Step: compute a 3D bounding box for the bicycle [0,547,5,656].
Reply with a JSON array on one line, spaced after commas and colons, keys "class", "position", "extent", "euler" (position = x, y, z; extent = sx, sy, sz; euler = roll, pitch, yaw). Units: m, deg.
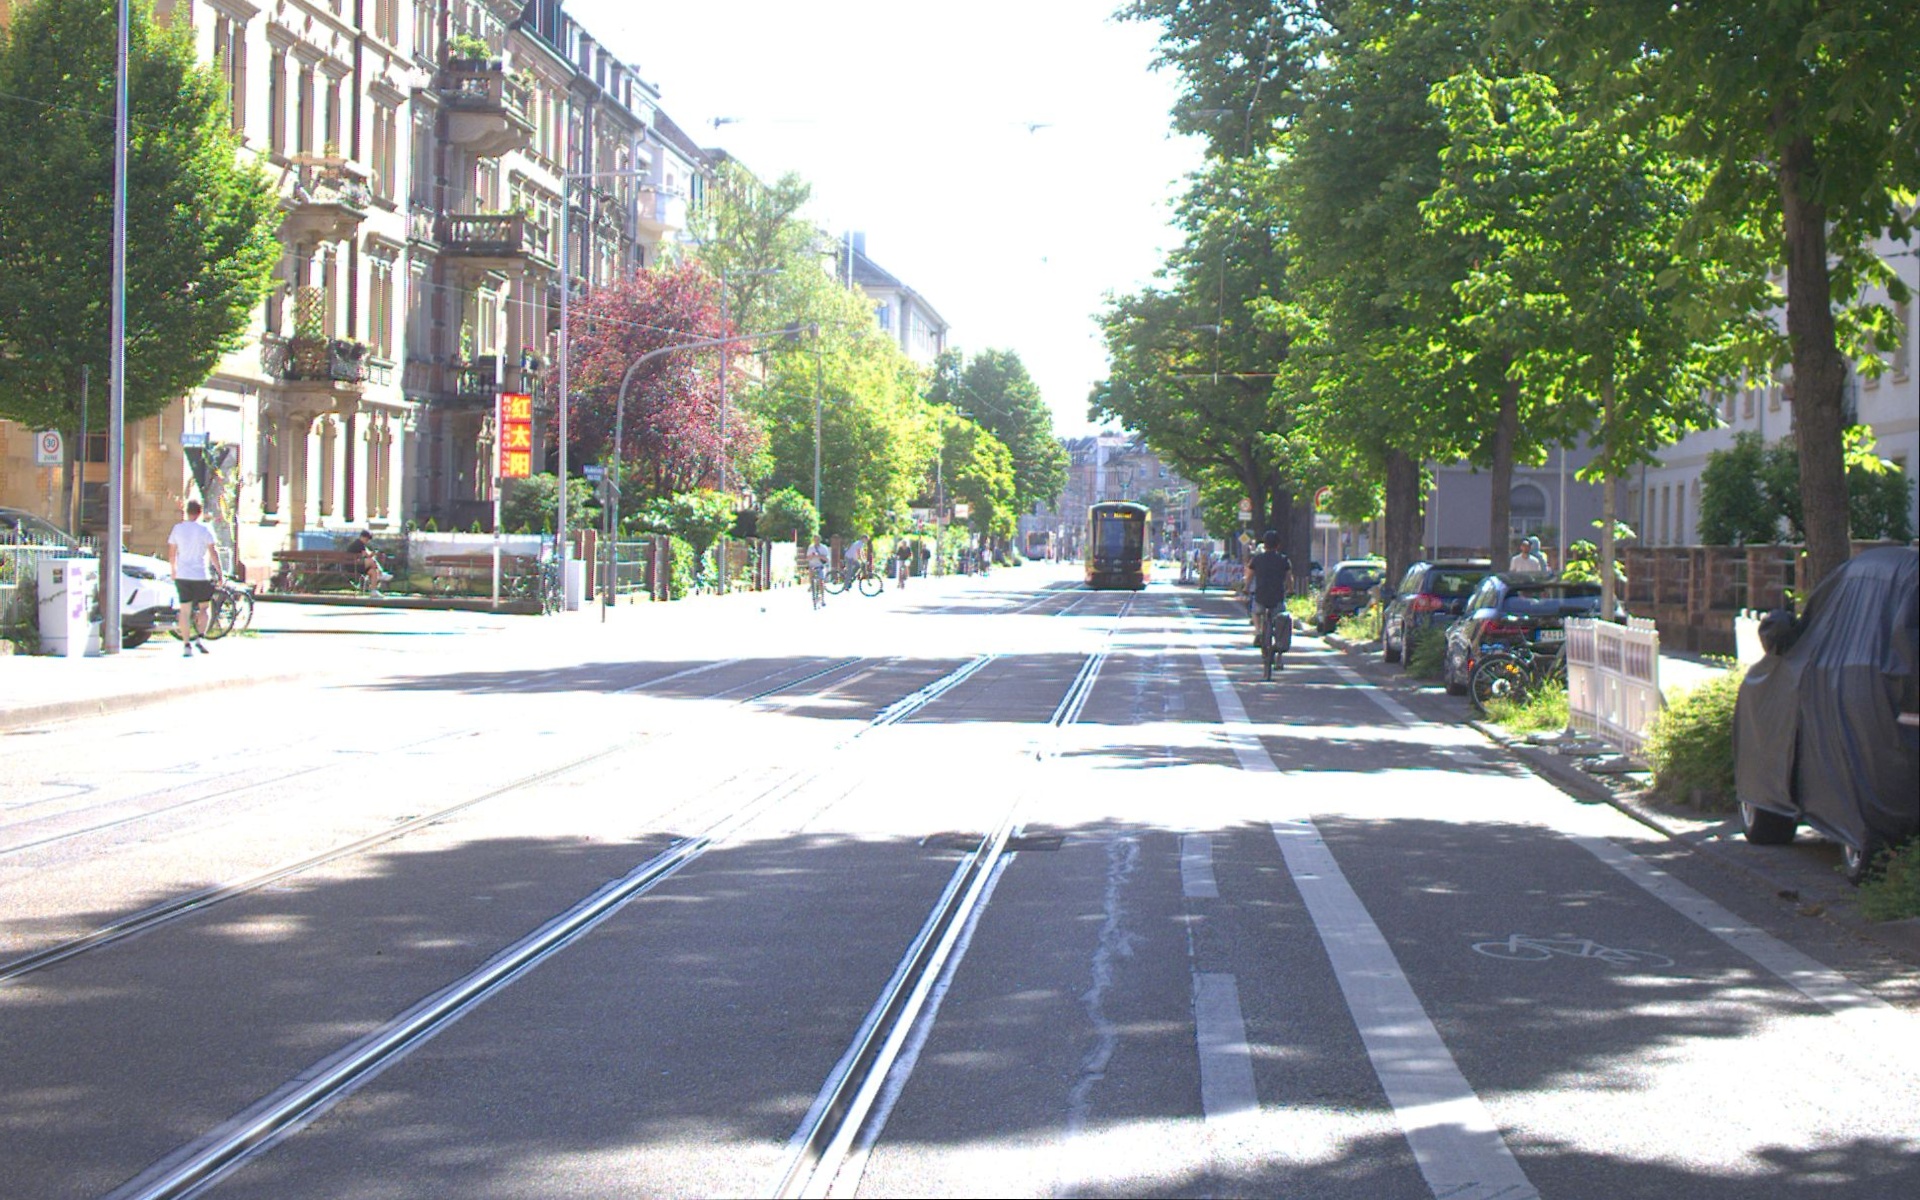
[{"class": "bicycle", "position": [-9.522, -0.028, 32.199], "extent": [0.563, 1.030, 1.768], "euler": [2, 3, -33]}]

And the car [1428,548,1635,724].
[{"class": "car", "position": [6.202, 0.338, 37.684], "extent": [1.665, 1.755, 4.231], "euler": [2, 1, 2]}]

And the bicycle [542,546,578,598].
[{"class": "bicycle", "position": [-7.864, -0.559, 67.712], "extent": [0.335, 0.997, 1.869], "euler": [3, 1, 3]}]

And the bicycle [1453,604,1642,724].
[{"class": "bicycle", "position": [5.827, 0.630, 34.136], "extent": [1.762, 1.074, 0.433], "euler": [3, 1, 5]}]

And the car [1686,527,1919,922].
[{"class": "car", "position": [5.023, 0.551, 17.630], "extent": [1.744, 1.760, 4.478], "euler": [3, 1, 2]}]

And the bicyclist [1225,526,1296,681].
[{"class": "bicyclist", "position": [3.679, 0.038, 42.136], "extent": [0.727, 1.842, 0.836], "euler": [3, 1, 3]}]

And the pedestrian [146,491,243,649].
[{"class": "pedestrian", "position": [-8.634, -0.336, 38.816], "extent": [0.829, 1.718, 1.082], "euler": [3, 0, -4]}]

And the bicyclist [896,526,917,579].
[{"class": "bicyclist", "position": [-1.814, -1.631, 117.255], "extent": [0.660, 1.795, 0.616], "euler": [0, 0, 4]}]

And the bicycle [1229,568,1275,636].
[{"class": "bicycle", "position": [5.053, 0.024, 59.517], "extent": [0.692, 1.108, 1.917], "euler": [3, 1, 3]}]

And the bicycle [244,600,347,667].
[{"class": "bicycle", "position": [-9.589, 0.487, 49.590], "extent": [1.290, 0.911, 0.621], "euler": [2, -1, -32]}]

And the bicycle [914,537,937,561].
[{"class": "bicycle", "position": [-1.589, -2.362, 159.785], "extent": [0.632, 1.065, 1.832], "euler": [3, 1, -13]}]

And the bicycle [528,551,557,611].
[{"class": "bicycle", "position": [-8.032, -0.372, 66.149], "extent": [0.371, 1.122, 0.809], "euler": [3, 1, 3]}]

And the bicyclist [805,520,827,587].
[{"class": "bicyclist", "position": [-3.495, -1.134, 83.514], "extent": [0.464, 1.613, 0.744], "euler": [0, 1, 3]}]

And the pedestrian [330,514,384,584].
[{"class": "pedestrian", "position": [-11.770, -0.991, 67.117], "extent": [0.901, 1.348, 0.577], "euler": [0, 1, 5]}]

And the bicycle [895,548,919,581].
[{"class": "bicycle", "position": [-1.801, -1.230, 117.335], "extent": [0.692, 1.108, 1.718], "euler": [0, 1, 3]}]

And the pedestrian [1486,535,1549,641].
[{"class": "pedestrian", "position": [9.384, -0.210, 57.863], "extent": [0.599, 1.765, 0.913], "euler": [-2, 1, -27]}]

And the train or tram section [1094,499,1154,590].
[{"class": "train or tram section", "position": [6.547, -2.231, 137.075], "extent": [2.154, 3.420, 6.611], "euler": [3, 1, 3]}]

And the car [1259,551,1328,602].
[{"class": "car", "position": [10.029, -0.727, 103.666], "extent": [1.628, 1.431, 4.665], "euler": [1, 1, 0]}]

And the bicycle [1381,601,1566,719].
[{"class": "bicycle", "position": [5.170, 0.602, 34.668], "extent": [1.762, 1.074, 0.433], "euler": [3, 1, 5]}]

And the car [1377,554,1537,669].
[{"class": "car", "position": [6.831, 0.119, 47.595], "extent": [1.720, 1.468, 4.246], "euler": [1, 1, 2]}]

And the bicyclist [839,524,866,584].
[{"class": "bicyclist", "position": [-3.270, -1.396, 104.372], "extent": [0.645, 1.789, 0.956], "euler": [3, 1, 3]}]

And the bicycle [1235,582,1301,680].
[{"class": "bicycle", "position": [3.767, 0.368, 42.170], "extent": [0.692, 1.108, 1.718], "euler": [3, 1, 3]}]

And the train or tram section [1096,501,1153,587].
[{"class": "train or tram section", "position": [6.895, -2.360, 143.705], "extent": [2.154, 3.420, 6.611], "euler": [3, 1, 3]}]

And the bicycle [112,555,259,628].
[{"class": "bicycle", "position": [-10.394, -0.114, 46.150], "extent": [1.782, 0.911, 0.621], "euler": [2, -1, -32]}]

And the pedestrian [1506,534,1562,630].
[{"class": "pedestrian", "position": [10.631, -0.333, 63.641], "extent": [0.764, 1.718, 0.579], "euler": [4, 1, 33]}]

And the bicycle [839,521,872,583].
[{"class": "bicycle", "position": [-3.192, -1.464, 104.954], "extent": [0.663, 1.853, 2.259], "euler": [3, 1, 5]}]

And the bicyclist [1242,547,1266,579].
[{"class": "bicyclist", "position": [12.162, -1.519, 142.266], "extent": [0.773, 1.287, 0.732], "euler": [3, 1, 20]}]

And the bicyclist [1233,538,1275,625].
[{"class": "bicyclist", "position": [5.092, -0.321, 59.548], "extent": [0.635, 1.463, 0.616], "euler": [3, 1, 3]}]

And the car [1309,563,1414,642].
[{"class": "car", "position": [7.922, 0.025, 68.026], "extent": [1.787, 1.459, 4.044], "euler": [1, 1, 3]}]

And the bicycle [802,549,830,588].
[{"class": "bicycle", "position": [-3.501, -0.766, 83.537], "extent": [0.460, 0.922, 2.202], "euler": [0, 1, 3]}]
